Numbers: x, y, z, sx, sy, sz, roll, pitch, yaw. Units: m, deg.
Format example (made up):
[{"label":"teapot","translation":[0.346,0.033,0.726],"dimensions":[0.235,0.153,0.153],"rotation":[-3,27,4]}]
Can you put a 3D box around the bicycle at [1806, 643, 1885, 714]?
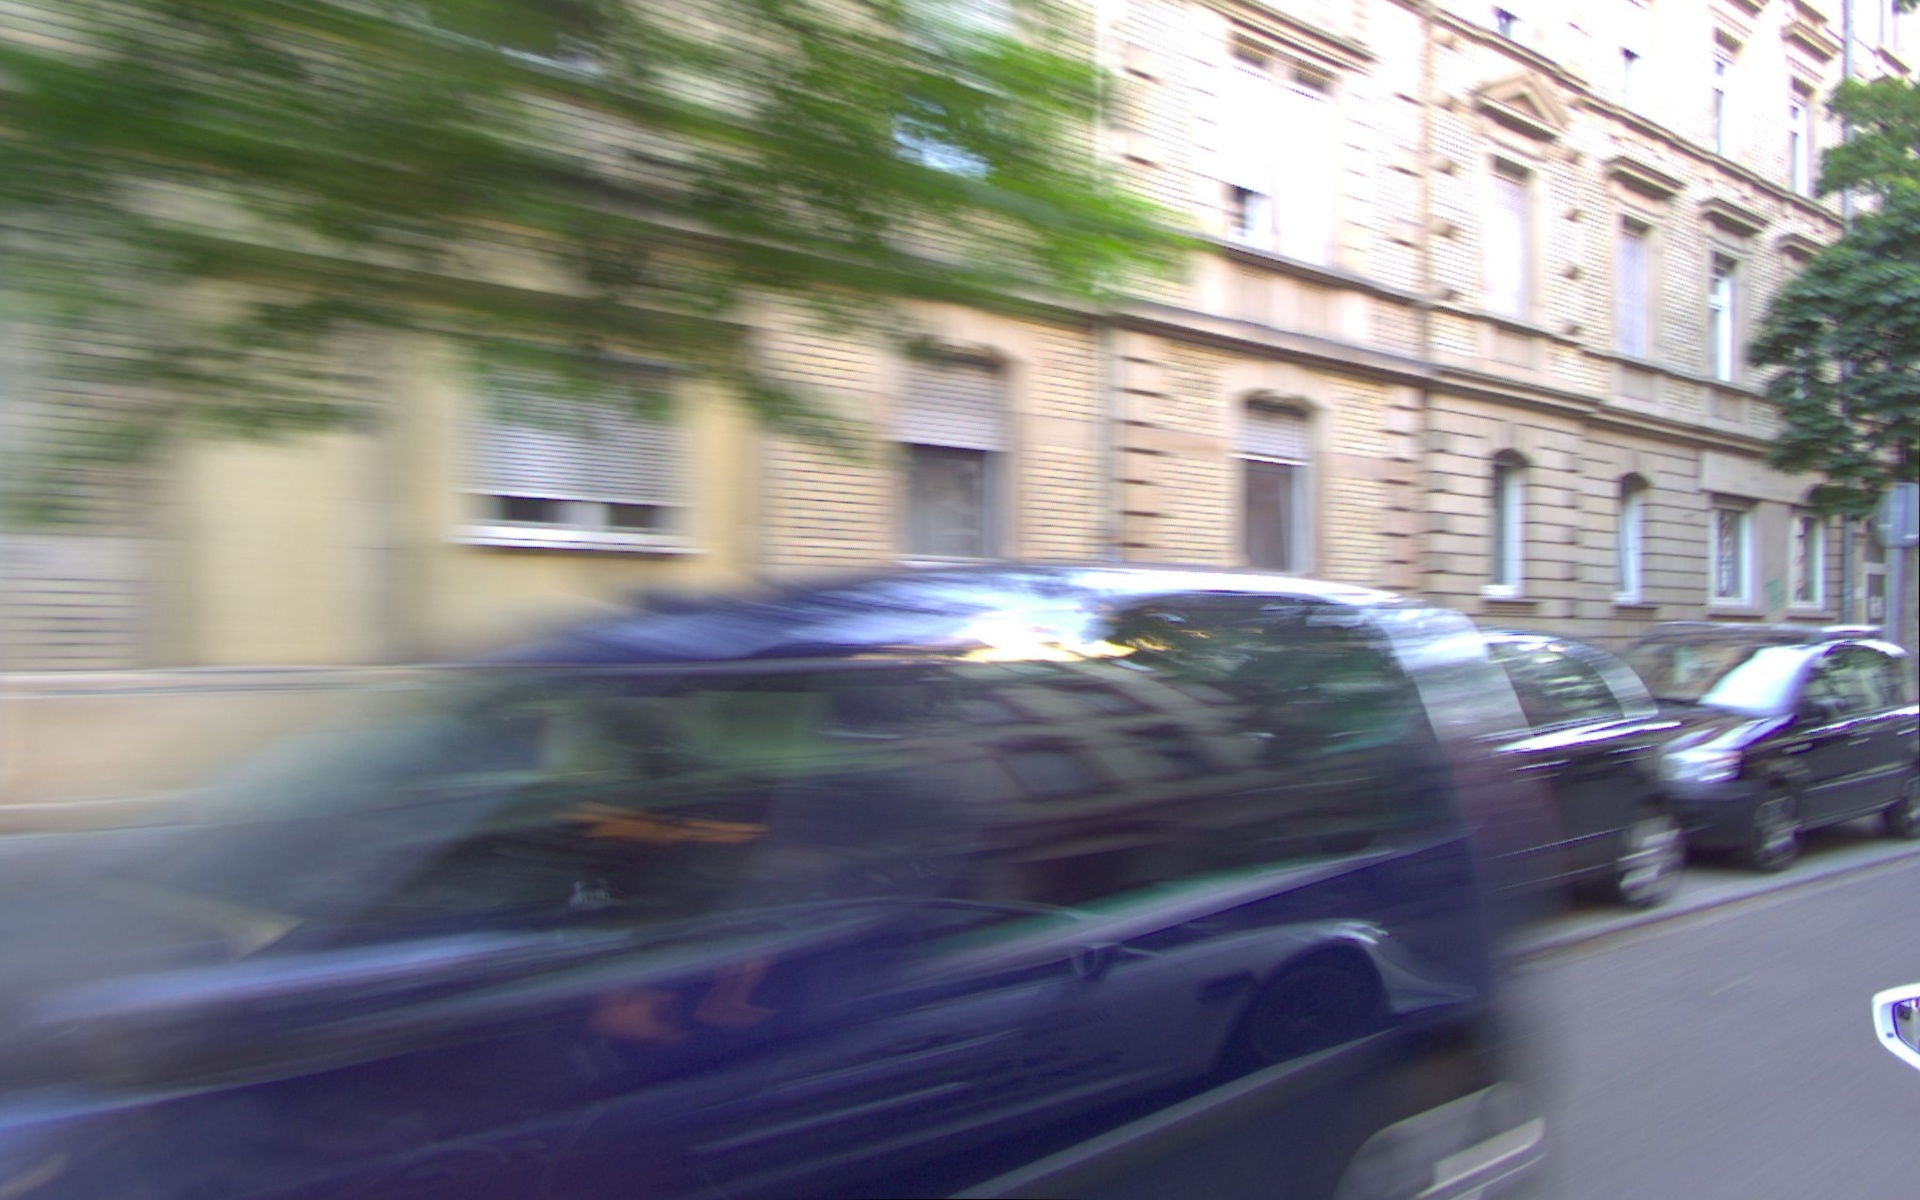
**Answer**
[{"label":"bicycle","translation":[15.015,1.309,17.031],"dimensions":[1.609,1.104,0.459],"rotation":[0,2,-29]}]

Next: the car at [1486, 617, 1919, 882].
[{"label":"car","translation":[5.683,0.931,7.442],"dimensions":[3.519,1.521,1.512],"rotation":[1,0,-30]}]

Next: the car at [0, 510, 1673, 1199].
[{"label":"car","translation":[-0.524,0.746,2.095],"dimensions":[4.169,1.594,1.716],"rotation":[1,-1,-30]}]

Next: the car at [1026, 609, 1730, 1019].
[{"label":"car","translation":[2.350,0.857,5.466],"dimensions":[3.669,1.521,1.682],"rotation":[1,0,-31]}]
